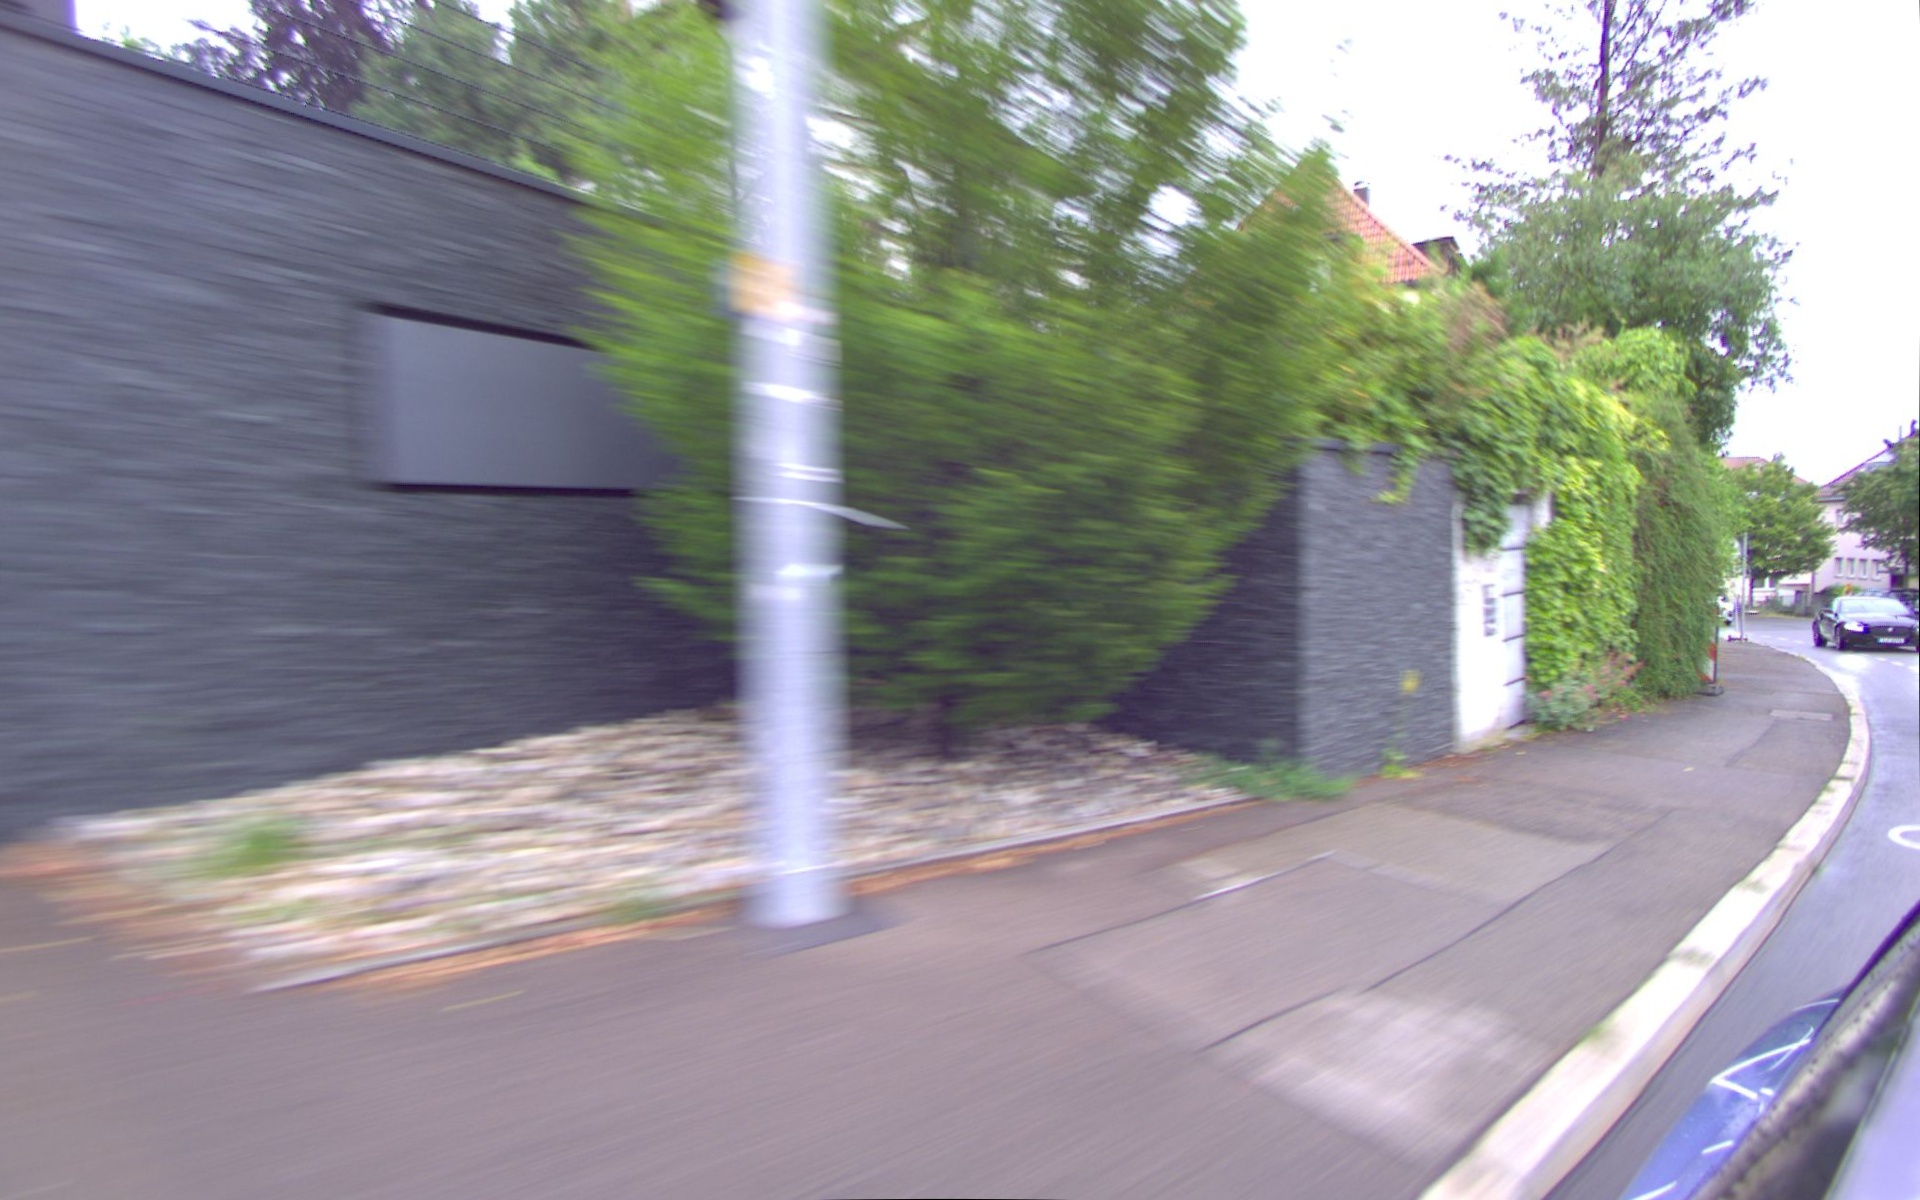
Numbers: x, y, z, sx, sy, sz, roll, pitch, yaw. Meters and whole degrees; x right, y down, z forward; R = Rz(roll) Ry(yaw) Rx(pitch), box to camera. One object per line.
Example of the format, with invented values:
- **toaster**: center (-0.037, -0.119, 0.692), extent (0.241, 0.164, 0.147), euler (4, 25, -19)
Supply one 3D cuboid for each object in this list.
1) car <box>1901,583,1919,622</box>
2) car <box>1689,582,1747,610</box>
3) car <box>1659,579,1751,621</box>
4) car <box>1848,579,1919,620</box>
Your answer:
- **car**: center (35.743, 0.117, 36.158), extent (1.694, 1.400, 4.493), euler (-2, 1, 25)
- **car**: center (43.181, -0.232, 57.730), extent (1.500, 1.554, 3.025), euler (1, 1, 13)
- **car**: center (33.061, -0.043, 45.072), extent (1.994, 1.760, 4.570), euler (-1, 1, 20)
- **car**: center (37.855, -0.051, 40.624), extent (1.716, 1.502, 4.502), euler (-2, 1, 19)
